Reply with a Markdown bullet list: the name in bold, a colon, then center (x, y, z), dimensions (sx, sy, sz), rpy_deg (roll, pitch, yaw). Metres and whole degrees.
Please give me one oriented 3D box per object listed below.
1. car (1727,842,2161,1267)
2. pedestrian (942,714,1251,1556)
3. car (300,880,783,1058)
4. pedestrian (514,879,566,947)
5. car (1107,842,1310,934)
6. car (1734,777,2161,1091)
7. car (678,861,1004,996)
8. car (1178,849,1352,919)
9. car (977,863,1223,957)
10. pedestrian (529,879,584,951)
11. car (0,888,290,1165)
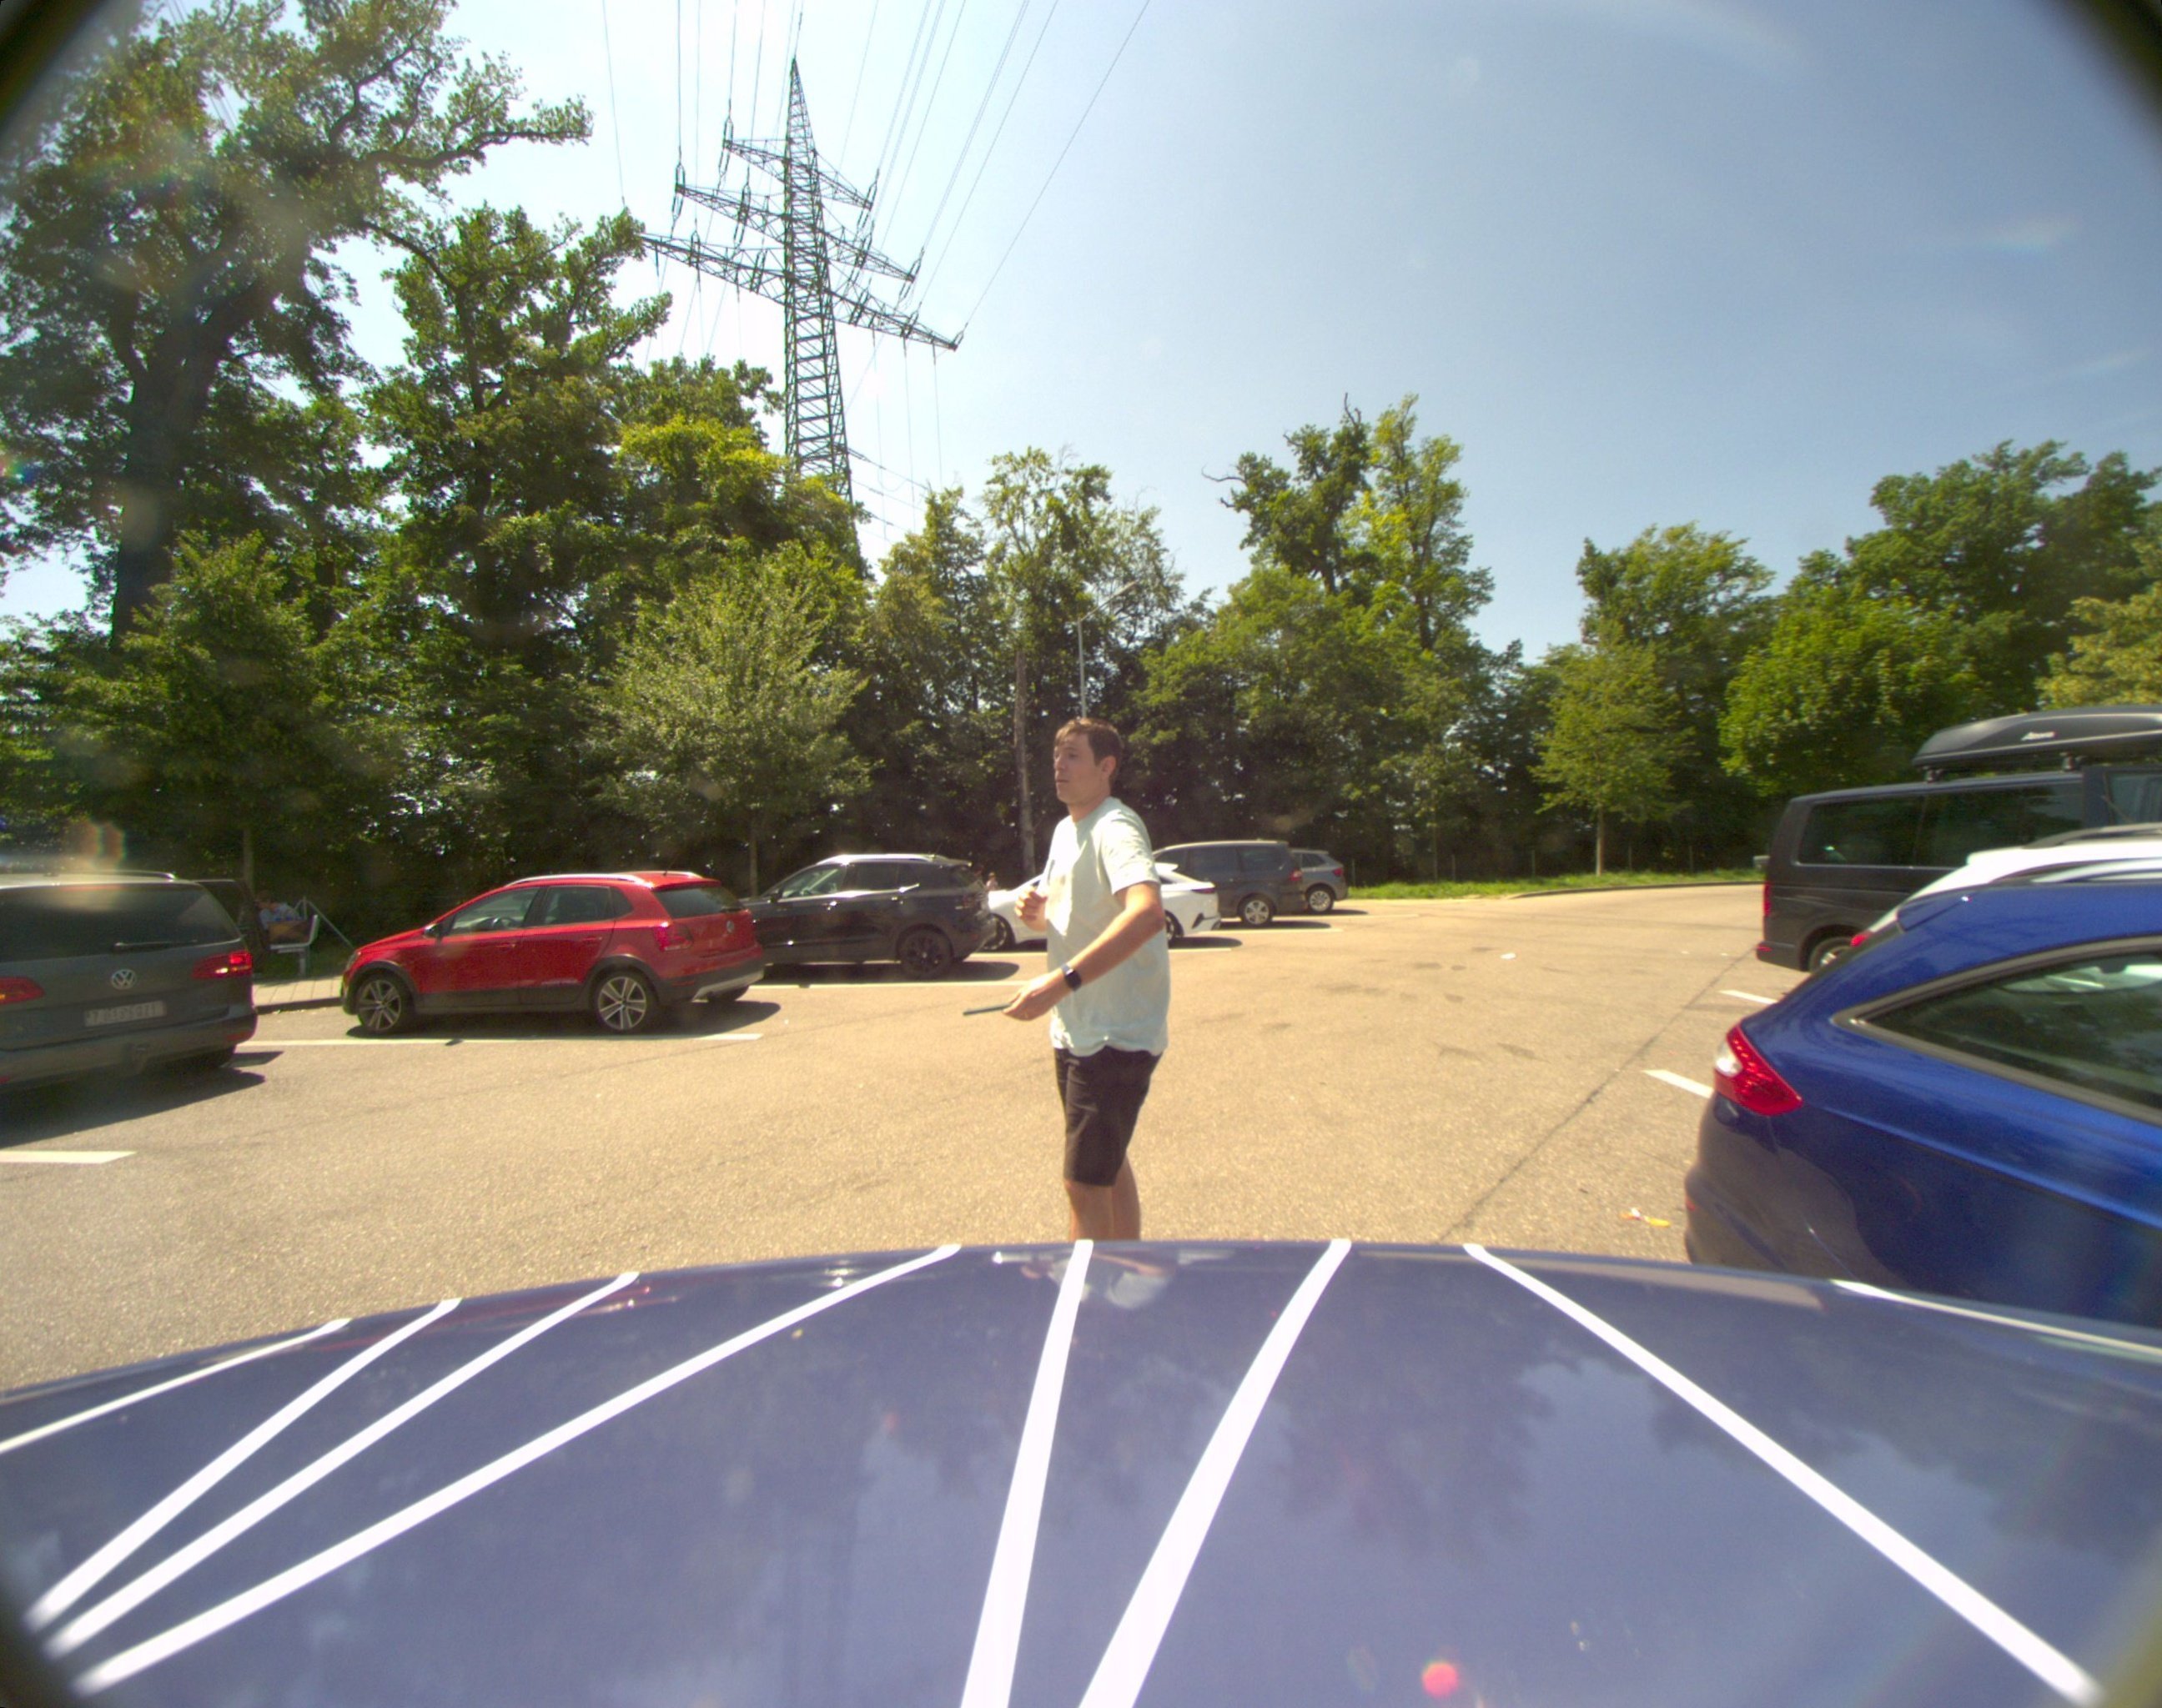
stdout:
- **car**: center (4.866, 0.722, 2.285), dimensions (1.741, 1.524, 4.642), rpy_deg (-3, -1, -2)
- **pedestrian**: center (-0.008, 0.610, 2.128), dimensions (0.622, 1.831, 0.890), rpy_deg (-2, 1, -7)
- **car**: center (-5.246, 1.067, 7.652), dimensions (3.785, 1.457, 1.722), rpy_deg (-1, 1, 9)
- **pedestrian**: center (-10.906, 1.167, 15.308), dimensions (0.782, 1.287, 0.670), rpy_deg (-1, 2, 45)
- **car**: center (2.581, 0.665, 15.453), dimensions (3.818, 1.714, 1.722), rpy_deg (-1, 1, 12)
- **car**: center (7.314, 0.433, 4.914), dimensions (1.961, 1.858, 4.642), rpy_deg (-3, -1, -3)
- **car**: center (-3.073, 0.937, 10.262), dimensions (3.787, 1.564, 1.721), rpy_deg (-1, 1, 2)
- **car**: center (4.333, 0.687, 18.156), dimensions (3.818, 1.530, 1.722), rpy_deg (-1, 1, 12)
- **car**: center (0.357, 0.898, 12.728), dimensions (3.819, 1.377, 1.722), rpy_deg (-1, 1, 6)
- **pedestrian**: center (-10.021, 1.141, 14.518), dimensions (0.782, 1.287, 0.670), rpy_deg (-1, 2, 45)
- **car**: center (-8.298, 1.108, 5.442), dimensions (3.985, 1.572, 1.749), rpy_deg (-1, 1, 12)
